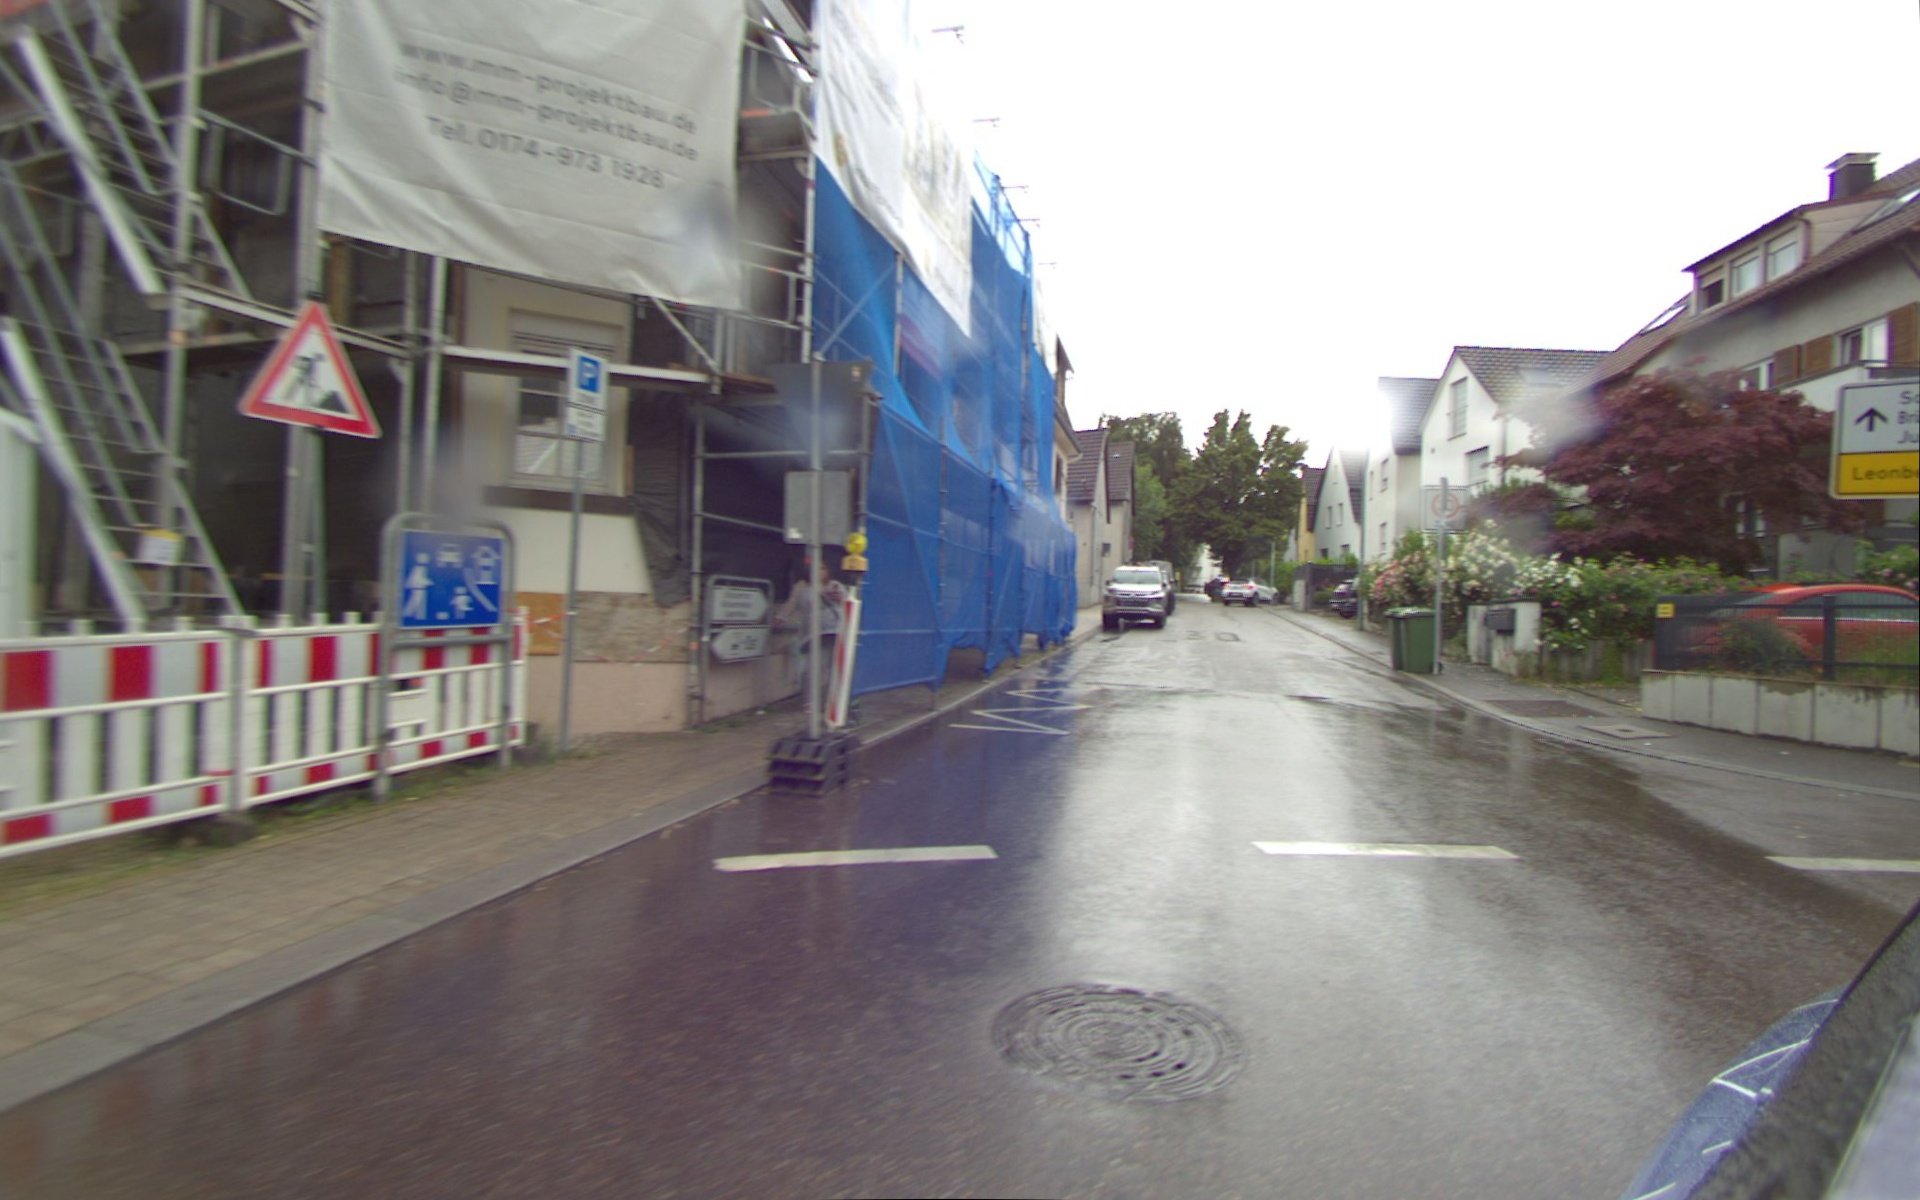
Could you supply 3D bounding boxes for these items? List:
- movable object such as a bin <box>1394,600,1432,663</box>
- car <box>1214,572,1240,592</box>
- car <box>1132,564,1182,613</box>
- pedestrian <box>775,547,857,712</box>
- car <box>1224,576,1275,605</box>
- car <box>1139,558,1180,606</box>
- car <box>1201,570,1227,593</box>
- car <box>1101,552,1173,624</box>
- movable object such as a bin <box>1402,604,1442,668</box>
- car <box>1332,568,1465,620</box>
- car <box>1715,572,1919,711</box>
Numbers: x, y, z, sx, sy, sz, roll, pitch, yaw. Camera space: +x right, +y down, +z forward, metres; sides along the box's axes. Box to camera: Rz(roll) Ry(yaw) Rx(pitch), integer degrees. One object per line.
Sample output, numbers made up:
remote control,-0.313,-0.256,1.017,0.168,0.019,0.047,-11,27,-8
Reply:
movable object such as a bin,7.924,0.545,17.702,0.514,1.063,0.413,-2,0,15
car,20.592,-1.409,78.086,1.683,1.536,3.581,1,1,11
car,7.865,-0.510,40.502,1.800,1.819,4.503,1,2,11
pedestrian,-1.459,0.286,10.283,0.646,1.600,0.435,3,1,14
car,15.456,-0.525,53.960,1.751,1.370,3.640,3,2,29
car,9.095,-0.827,46.293,1.684,2.128,3.930,0,1,9
car,18.447,-1.357,73.575,1.586,1.560,3.581,1,1,11
car,5.416,-0.391,30.640,1.802,2.000,4.498,1,2,14
movable object such as a bin,7.825,0.606,17.140,0.514,1.039,0.413,2,1,15
car,15.659,-0.236,36.284,3.927,1.727,1.781,1,1,3
car,12.342,0.531,12.899,3.932,1.618,1.718,2,2,7
